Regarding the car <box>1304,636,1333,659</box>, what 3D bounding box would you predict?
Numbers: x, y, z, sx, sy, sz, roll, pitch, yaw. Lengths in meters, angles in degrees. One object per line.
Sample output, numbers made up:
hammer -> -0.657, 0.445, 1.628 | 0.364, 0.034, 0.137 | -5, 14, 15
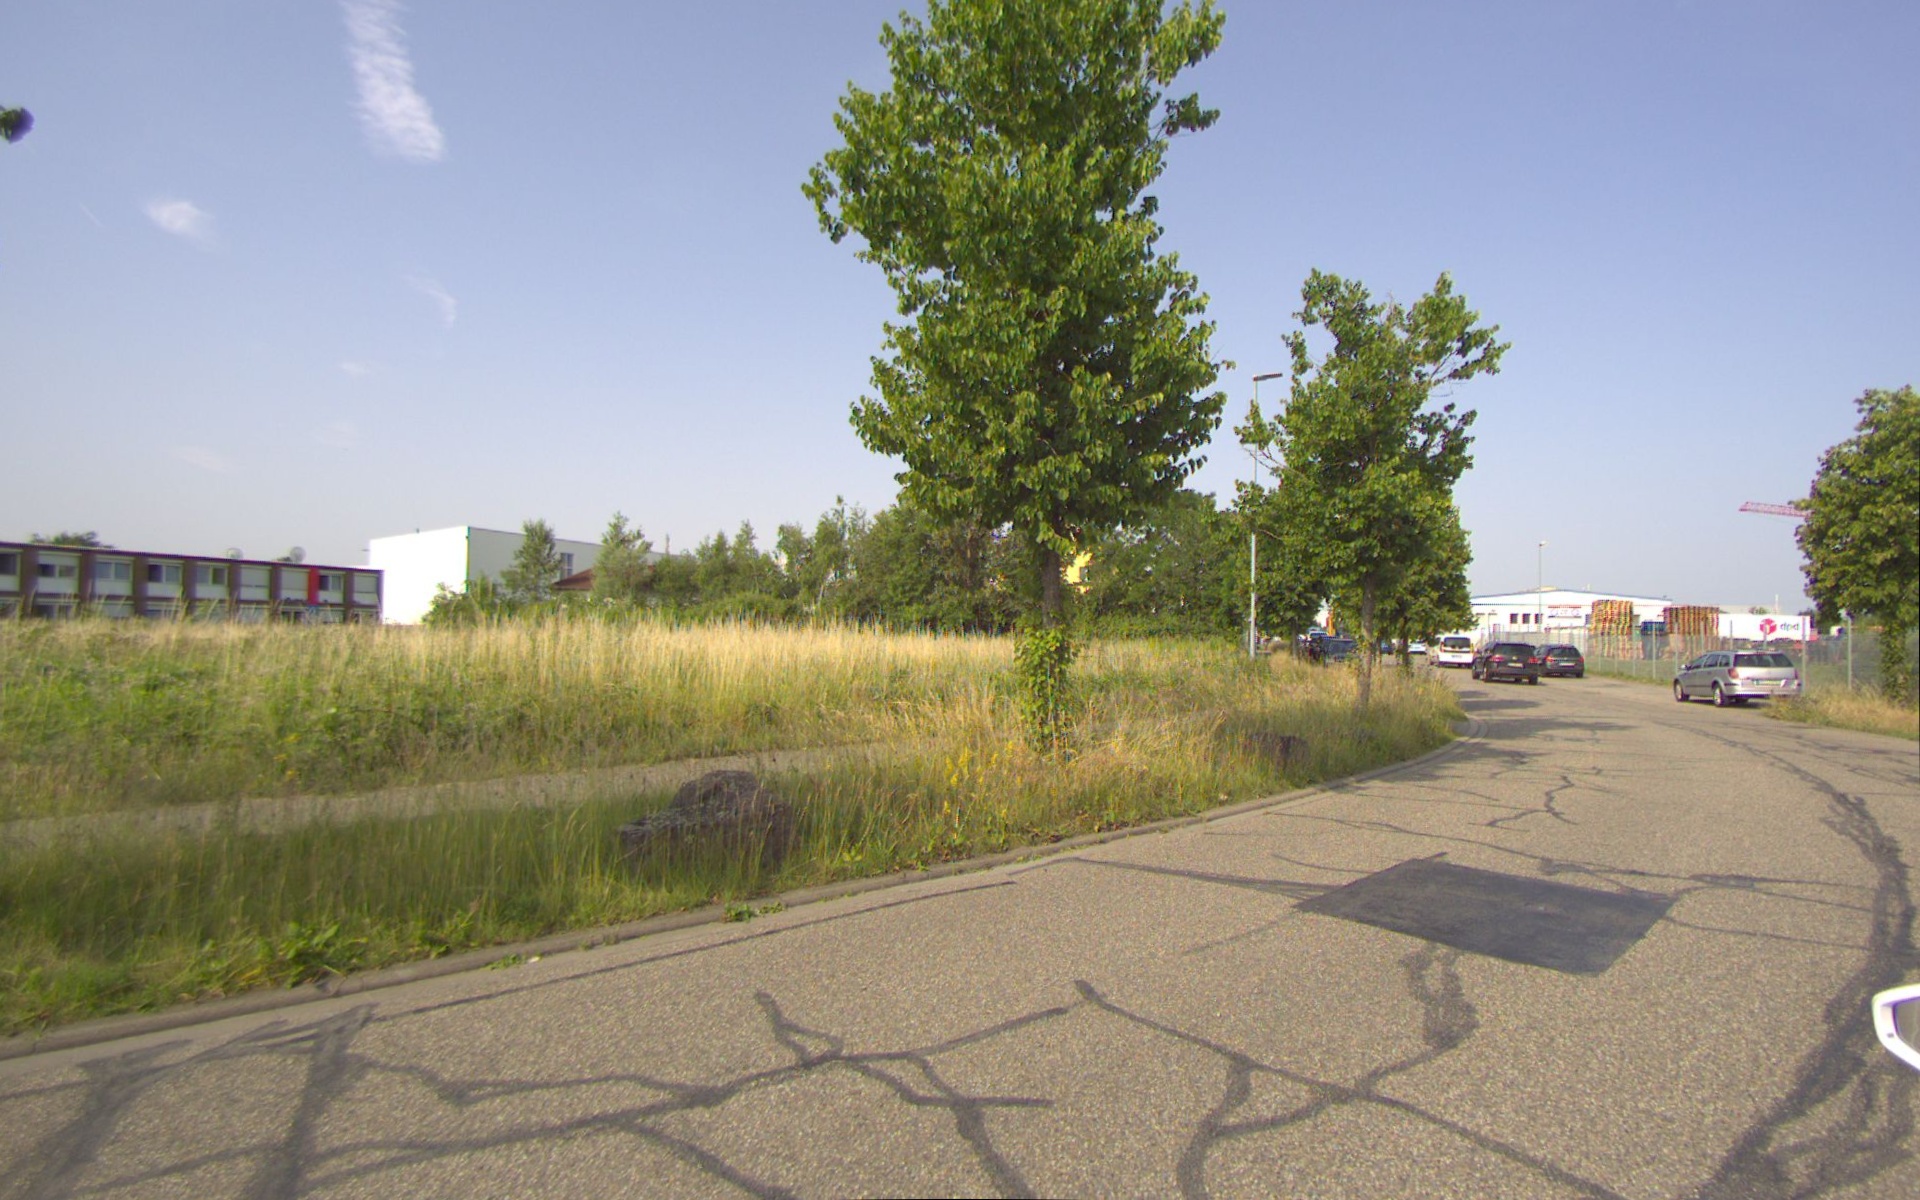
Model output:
car -> 25.219, 3.318, 70.779 | 1.803, 1.516, 4.050 | 2, -1, 19

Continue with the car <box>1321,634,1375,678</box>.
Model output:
car -> 16.162, 2.278, 41.976 | 1.871, 1.647, 4.450 | 2, -1, 19

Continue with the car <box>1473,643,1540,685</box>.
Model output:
car -> 22.349, 2.591, 41.215 | 1.850, 1.607, 4.114 | 0, -2, 21

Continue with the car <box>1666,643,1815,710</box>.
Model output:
car -> 21.311, 2.038, 27.667 | 1.769, 1.647, 4.451 | -2, -2, 18

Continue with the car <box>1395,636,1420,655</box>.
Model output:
car -> 42.955, 4.374, 96.415 | 1.686, 1.702, 3.951 | 1, -2, 17

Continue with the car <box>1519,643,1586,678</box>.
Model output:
car -> 27.604, 2.813, 46.916 | 1.686, 1.535, 4.006 | -1, -2, 16

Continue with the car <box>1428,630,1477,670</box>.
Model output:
car -> 27.700, 2.823, 56.627 | 2.087, 2.138, 4.625 | 0, -2, 21
